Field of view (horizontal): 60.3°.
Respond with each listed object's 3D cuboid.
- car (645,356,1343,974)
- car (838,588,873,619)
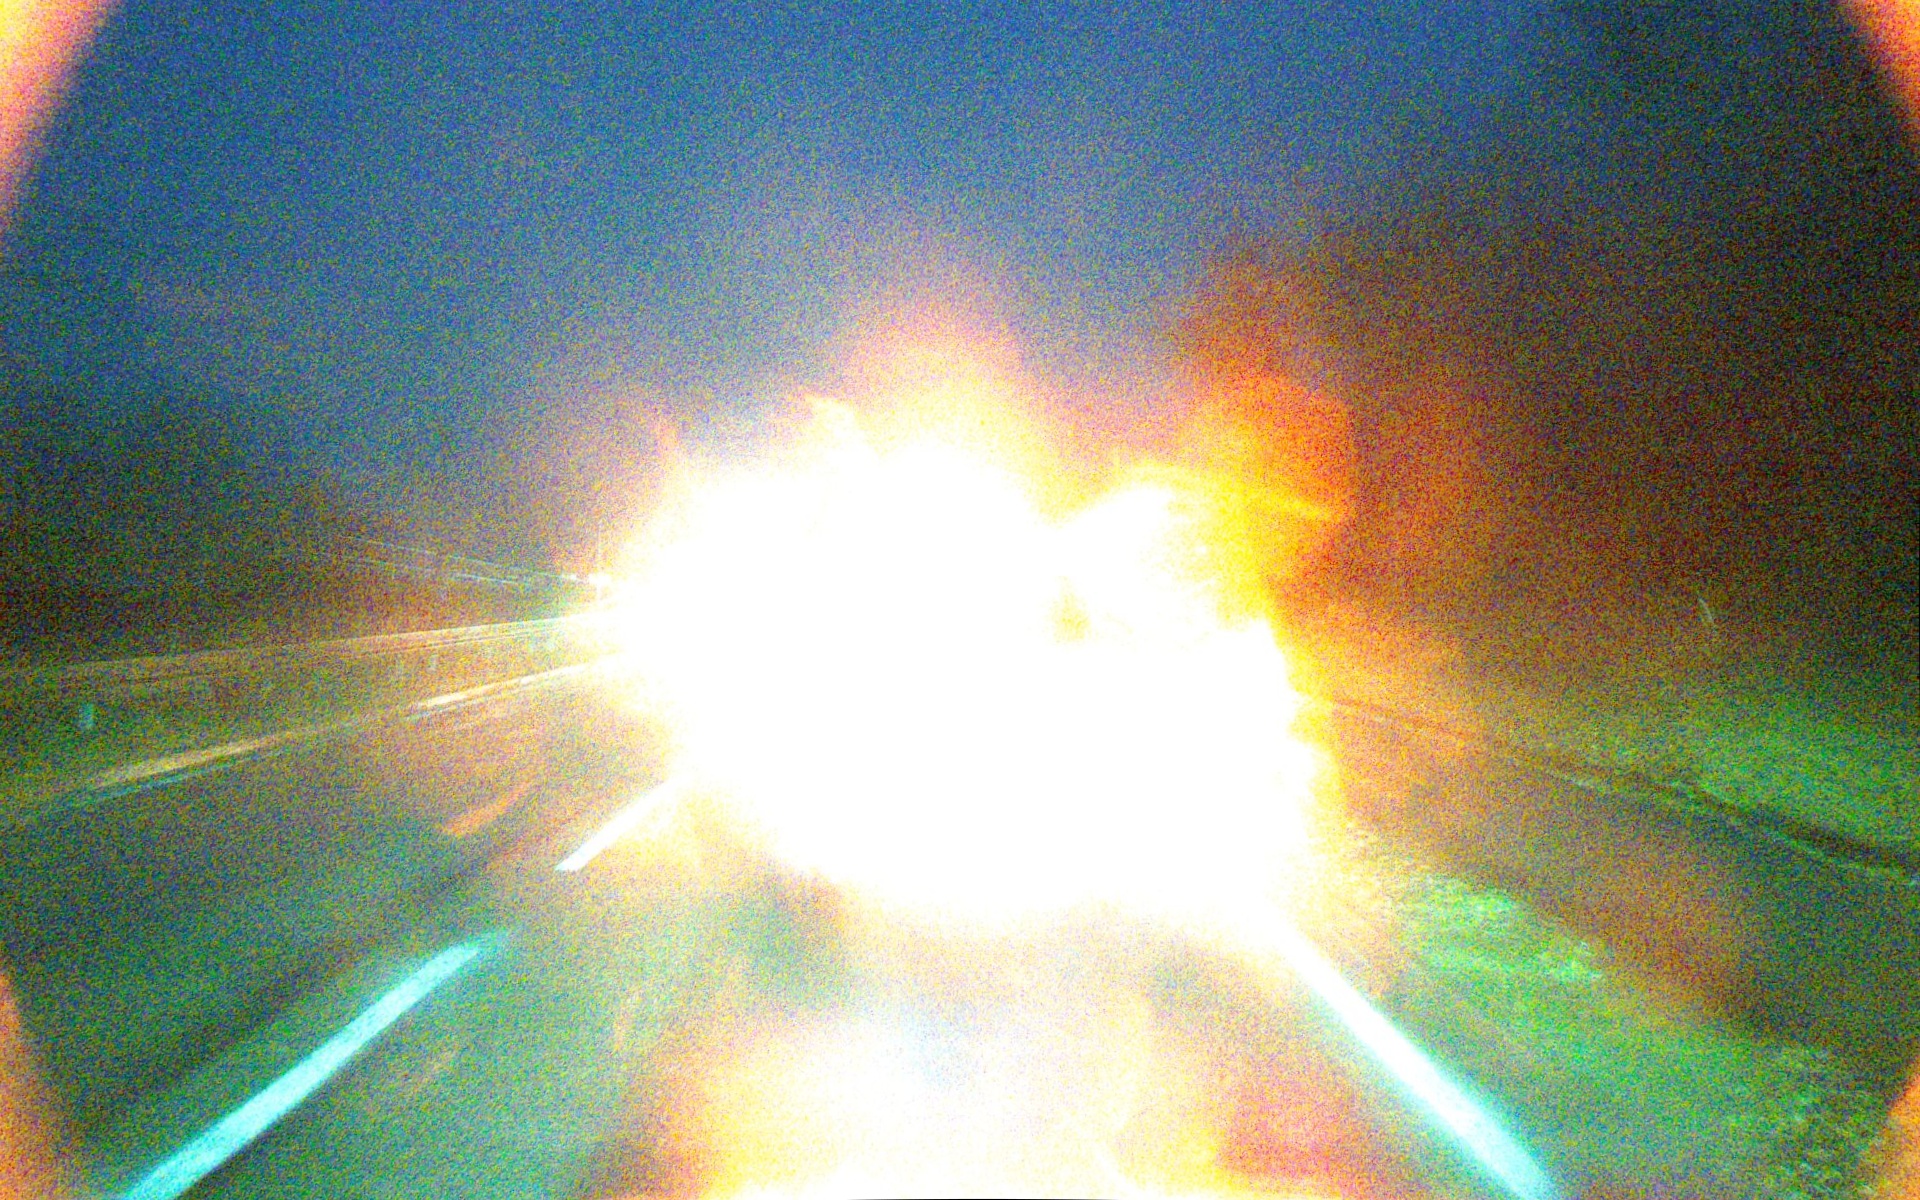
[{"bbox_3d":[0.083,0.226,9.396,2.660,2.348,6.099,1,1,-1],"label":"car"},{"bbox_3d":[-5.465,0.167,86.641,1.512,1.537,3.880,1,0,1],"label":"car"}]
